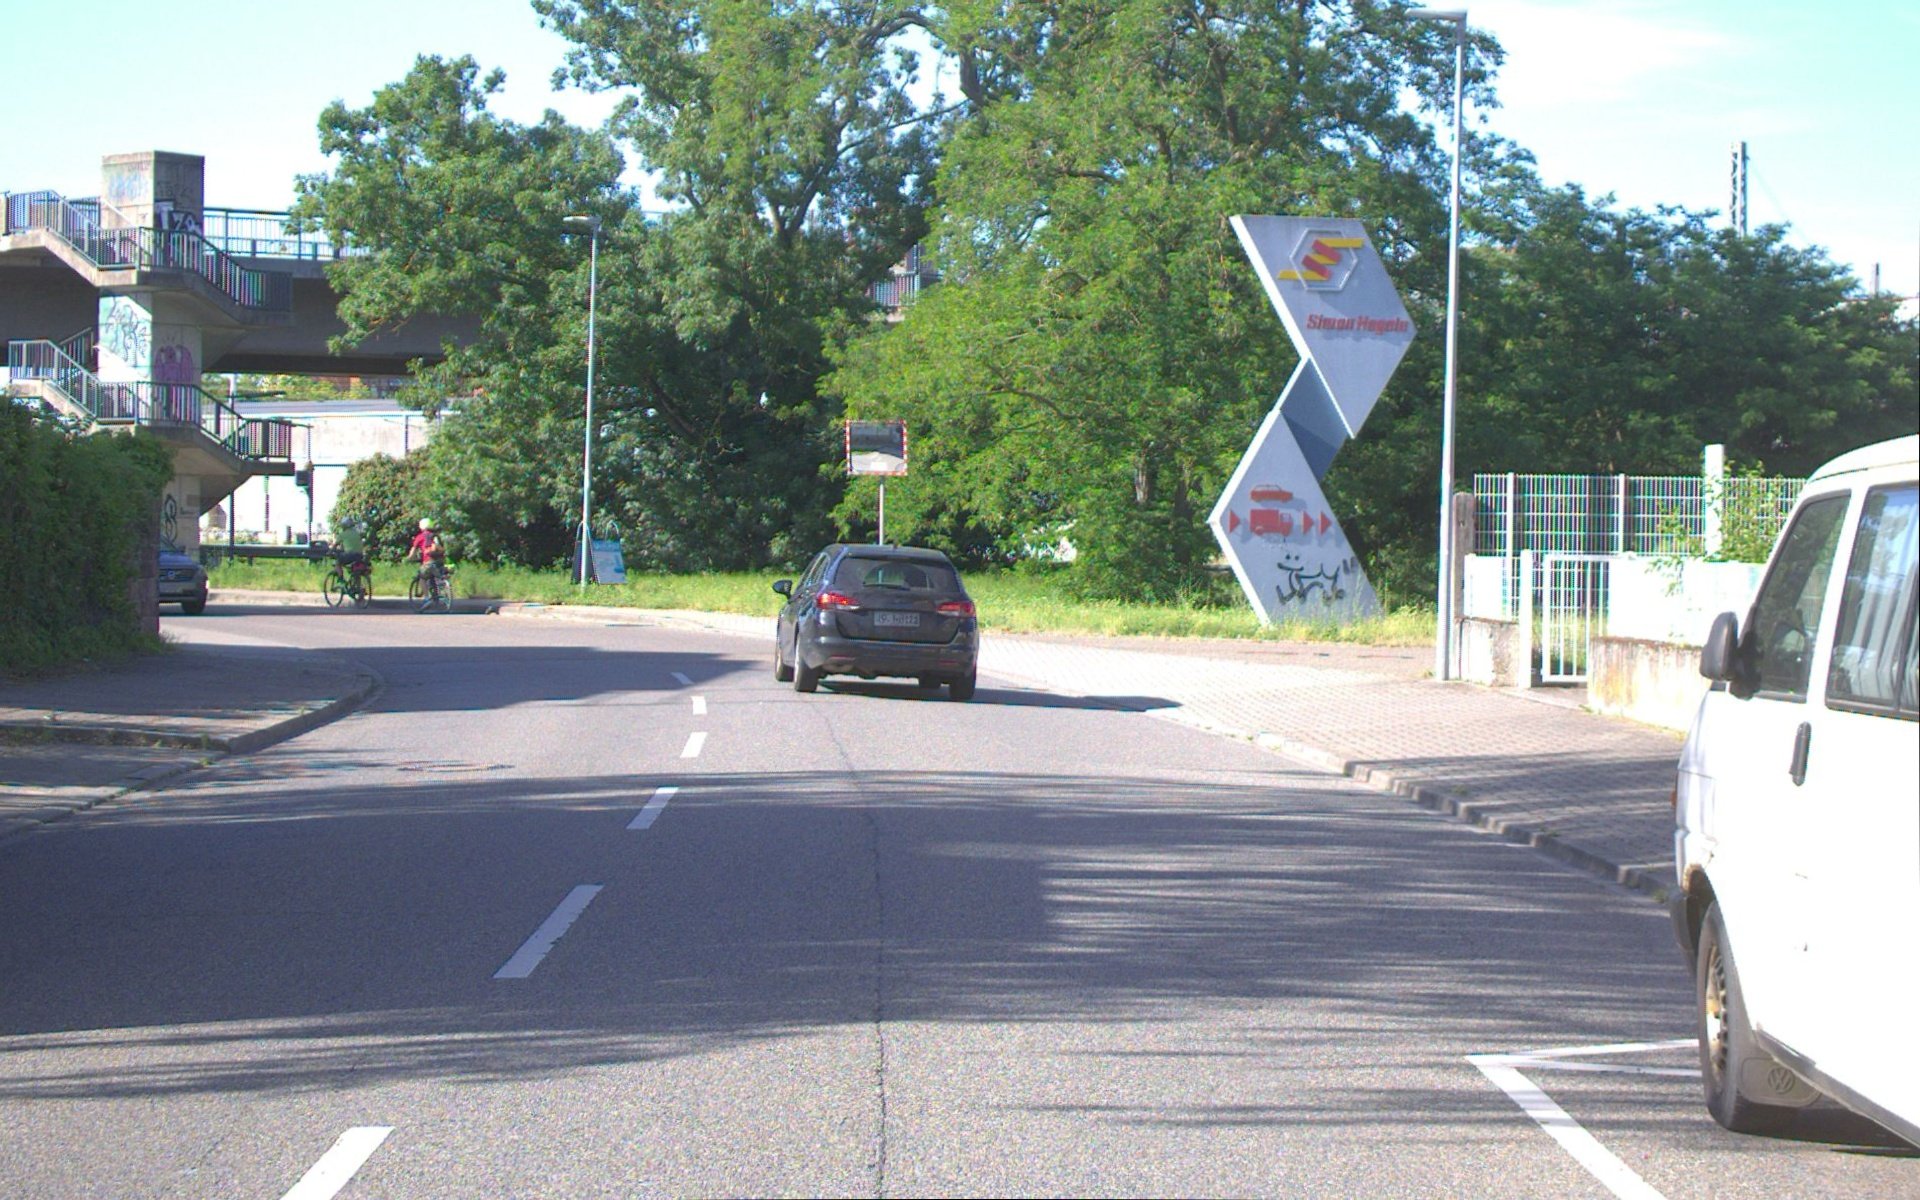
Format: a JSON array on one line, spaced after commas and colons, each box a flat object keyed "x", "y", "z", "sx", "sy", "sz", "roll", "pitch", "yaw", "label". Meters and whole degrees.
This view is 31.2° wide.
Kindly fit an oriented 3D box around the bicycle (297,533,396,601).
[{"x": -11.793, "y": -0.642, "z": 66.061, "sx": 0.804, "sy": 1.217, "sz": 2.258, "roll": 2, "pitch": 0, "yaw": -40, "label": "bicycle"}]

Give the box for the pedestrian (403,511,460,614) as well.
[{"x": -9.659, "y": -0.687, "z": 62.872, "sx": 0.657, "sy": 1.828, "sz": 0.794, "roll": 2, "pitch": 0, "yaw": -37, "label": "pedestrian"}]

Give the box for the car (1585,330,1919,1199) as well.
[{"x": 2.871, "y": 0.481, "z": 7.738, "sx": 1.874, "sy": 2.007, "sz": 5.160, "roll": 3, "pitch": 0, "yaw": 0, "label": "car"}]

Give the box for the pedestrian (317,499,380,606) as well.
[{"x": -11.743, "y": -0.907, "z": 66.003, "sx": 0.780, "sy": 2.007, "sz": 0.868, "roll": 2, "pitch": 0, "yaw": -40, "label": "pedestrian"}]

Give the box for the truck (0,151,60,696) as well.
[{"x": -6.220, "y": -0.529, "z": 13.787, "sx": 2.631, "sy": 3.493, "sz": 8.657, "roll": 7, "pitch": 2, "yaw": -1, "label": "truck"}]

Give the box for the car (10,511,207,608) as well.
[{"x": -15.366, "y": -0.748, "z": 61.896, "sx": 1.994, "sy": 1.681, "sz": 4.205, "roll": 0, "pitch": 1, "yaw": -36, "label": "car"}]

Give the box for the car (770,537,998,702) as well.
[{"x": -0.827, "y": 0.149, "z": 34.684, "sx": 1.847, "sy": 1.525, "sz": 4.001, "roll": 1, "pitch": 1, "yaw": -7, "label": "car"}]

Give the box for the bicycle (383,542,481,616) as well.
[{"x": -9.682, "y": -0.400, "z": 62.975, "sx": 0.803, "sy": 1.263, "sz": 2.258, "roll": 2, "pitch": 0, "yaw": -35, "label": "bicycle"}]
